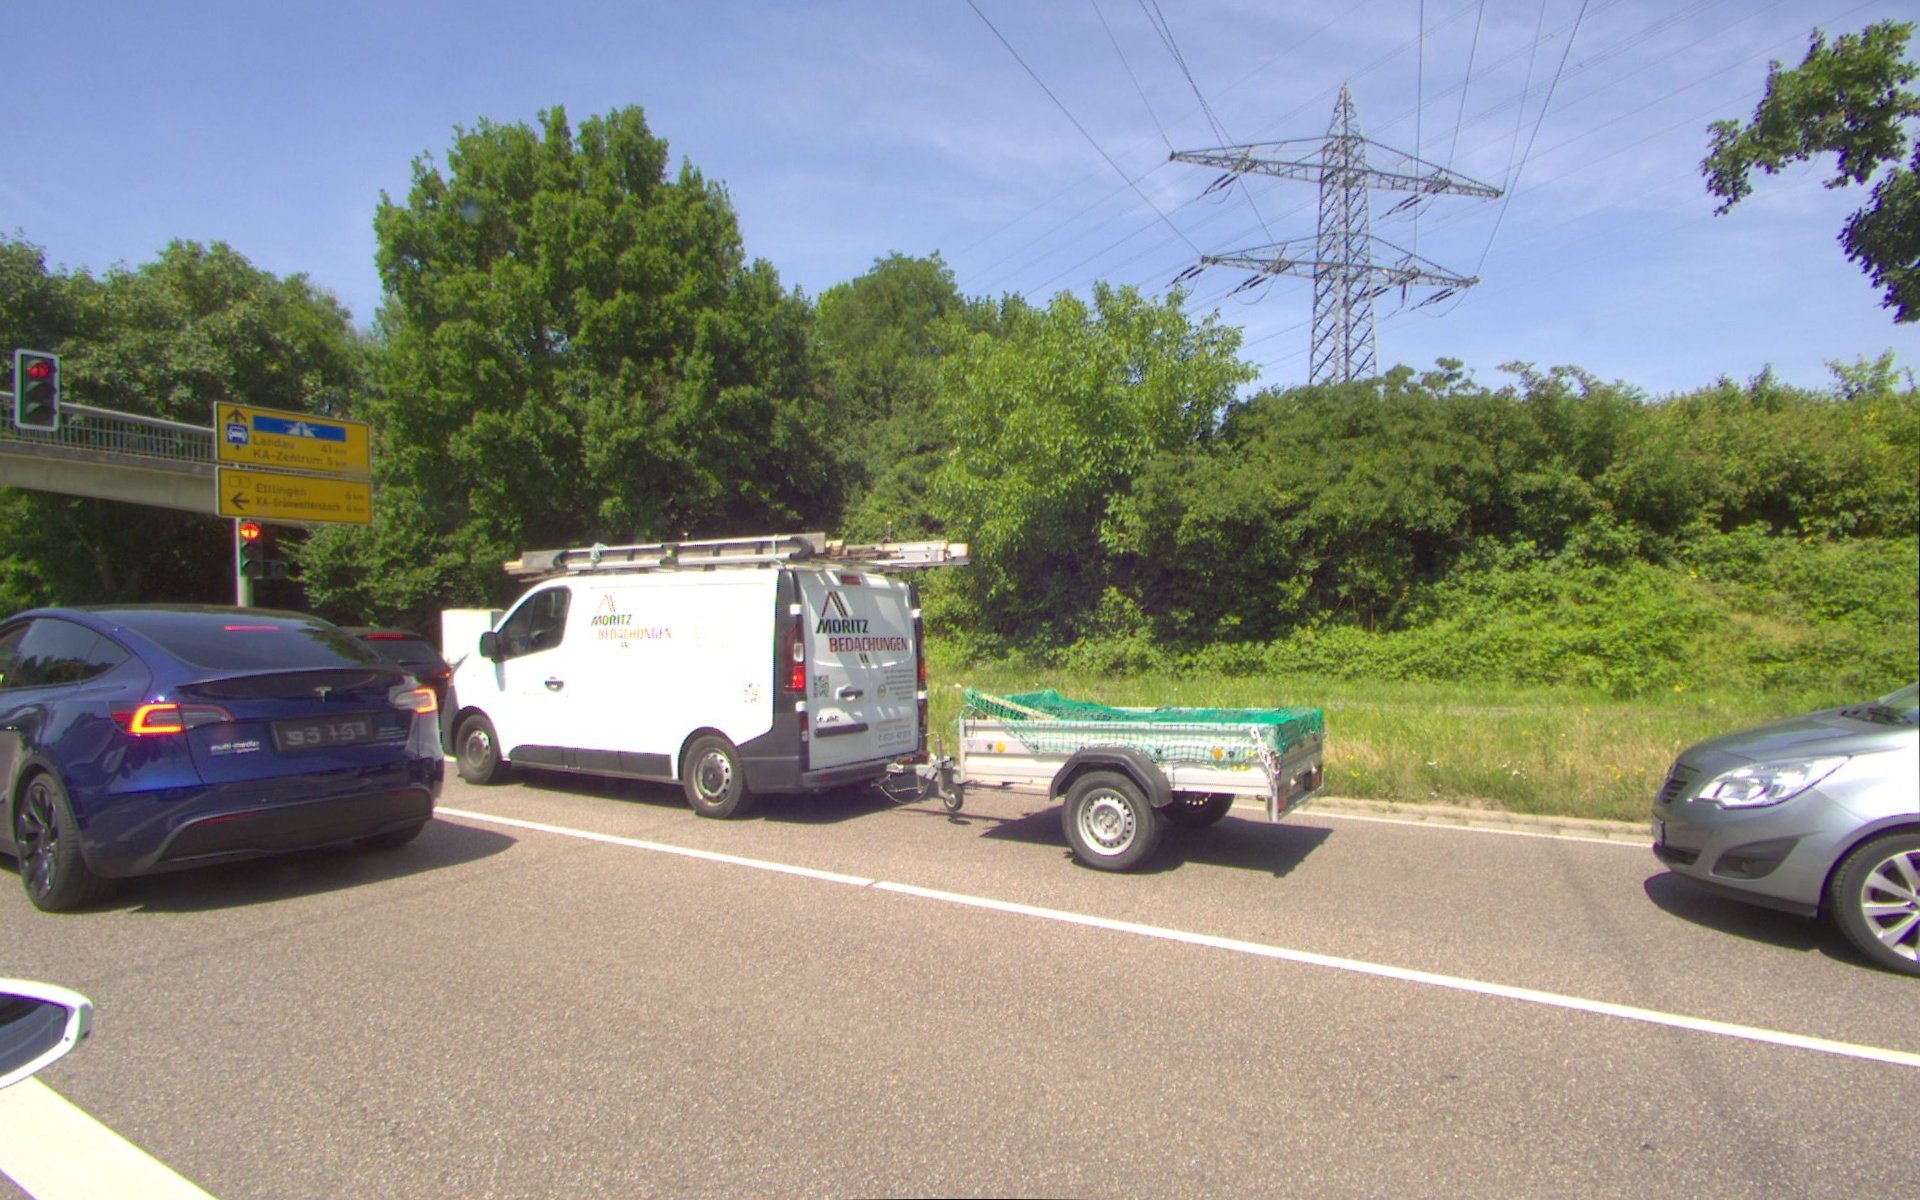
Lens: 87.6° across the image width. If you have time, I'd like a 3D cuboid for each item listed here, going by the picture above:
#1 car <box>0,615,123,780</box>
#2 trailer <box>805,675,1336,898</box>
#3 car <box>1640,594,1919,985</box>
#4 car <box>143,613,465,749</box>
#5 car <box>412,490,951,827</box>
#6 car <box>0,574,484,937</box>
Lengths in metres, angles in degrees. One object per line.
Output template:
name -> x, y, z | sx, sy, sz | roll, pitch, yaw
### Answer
car -> -10.373, 0.904, 10.085 | 3.882, 1.497, 1.897 | 0, -1, 32
trailer -> 0.733, 1.115, 6.960 | 3.276, 1.019, 1.703 | 0, -1, 32
car -> 5.414, 0.779, 4.246 | 4.105, 1.616, 1.761 | 0, 0, 32
car -> -8.594, 0.936, 13.026 | 4.317, 1.497, 1.897 | -1, -1, 32
car -> -2.701, 0.466, 9.236 | 5.002, 2.379, 1.929 | -1, -1, 32
car -> -5.340, 0.759, 6.602 | 4.455, 1.665, 1.897 | -1, -1, 32
